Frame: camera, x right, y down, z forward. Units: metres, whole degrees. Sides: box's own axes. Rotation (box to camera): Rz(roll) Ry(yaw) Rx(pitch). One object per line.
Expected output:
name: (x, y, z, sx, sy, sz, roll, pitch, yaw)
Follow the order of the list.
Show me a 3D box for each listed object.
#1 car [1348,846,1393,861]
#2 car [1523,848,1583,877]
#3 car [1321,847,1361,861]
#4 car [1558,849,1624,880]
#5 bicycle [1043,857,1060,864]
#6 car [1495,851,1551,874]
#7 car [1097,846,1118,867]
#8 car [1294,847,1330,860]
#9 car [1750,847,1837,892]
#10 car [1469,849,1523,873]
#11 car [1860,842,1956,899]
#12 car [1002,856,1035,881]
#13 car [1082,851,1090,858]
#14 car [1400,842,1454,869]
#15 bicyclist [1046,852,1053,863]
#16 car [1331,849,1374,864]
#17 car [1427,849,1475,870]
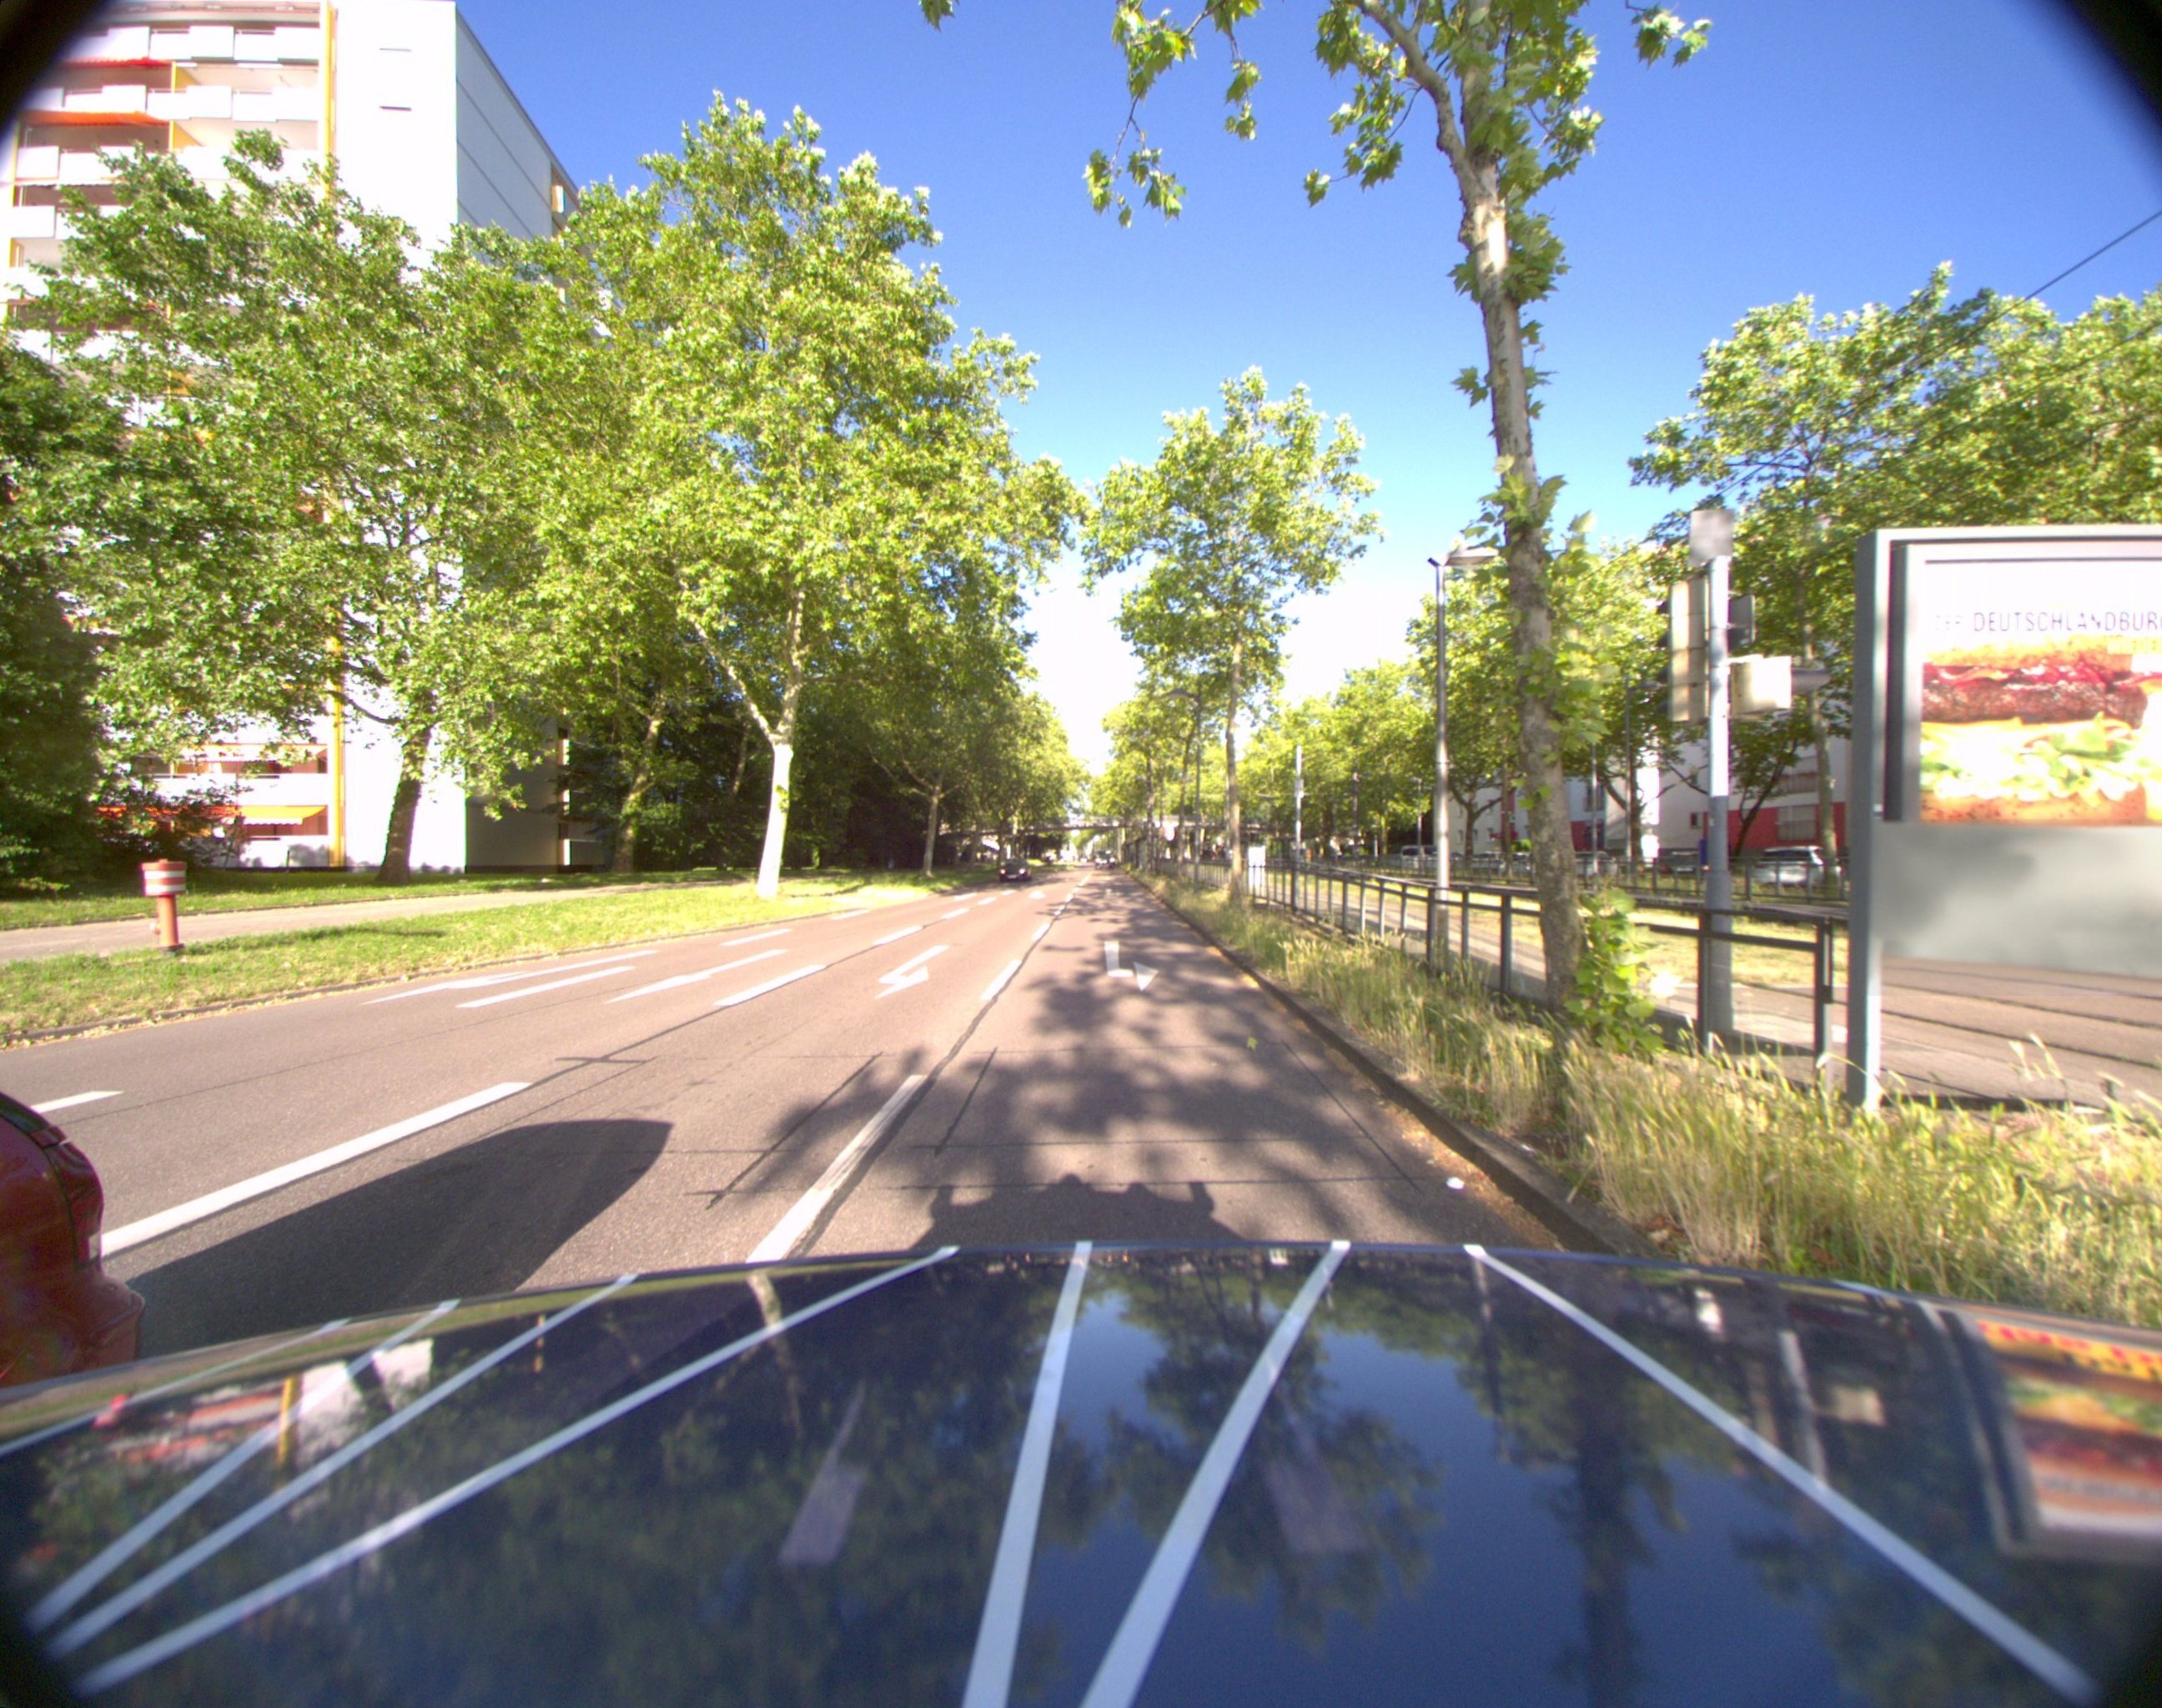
car: (26.792, -0.057, 70.283, 4.376, 1.367, 1.919, -1, 1, -39)
car: (25.804, 0.431, 41.503, 3.689, 1.440, 1.645, -1, 1, -39)
car: (27.234, 0.027, 79.560, 4.376, 1.367, 1.919, -1, 1, -39)
car: (25.324, 0.502, 37.675, 3.689, 1.384, 1.645, -1, 1, -38)
bicycle: (-3.951, 0.869, 101.055, 2.139, 0.959, 0.602, -1, 1, 16)
car: (26.193, 0.483, 44.945, 3.689, 1.234, 1.645, -1, 1, -39)
car: (2.747, 0.213, 80.592, 2.040, 2.102, 5.113, -1, 0, 1)
car: (27.192, -0.057, 89.414, 4.376, 1.367, 1.919, -1, 1, -39)
car: (25.051, 0.495, 26.671, 3.689, 1.425, 1.683, -1, 1, -38)
car: (25.950, 0.417, 47.480, 3.689, 1.440, 1.645, -1, 1, -39)
car: (25.013, 0.463, 22.945, 3.689, 1.558, 1.683, -1, 1, -38)
car: (-3.934, 0.875, 48.415, 1.750, 1.460, 3.892, -1, 0, 1)
car: (1.404, 0.111, 207.947, 2.040, 1.995, 5.113, -1, 0, 1)
car: (25.953, 0.087, 56.977, 4.376, 1.873, 1.919, -1, 1, -39)
bicyclist: (-4.183, 0.454, 101.109, 0.708, 1.479, 0.611, -1, 1, 16)
car: (26.303, 0.256, 73.640, 4.376, 1.367, 1.919, -1, 1, -39)
car: (26.238, 0.349, 53.883, 3.689, 1.388, 1.645, -1, 1, -39)
